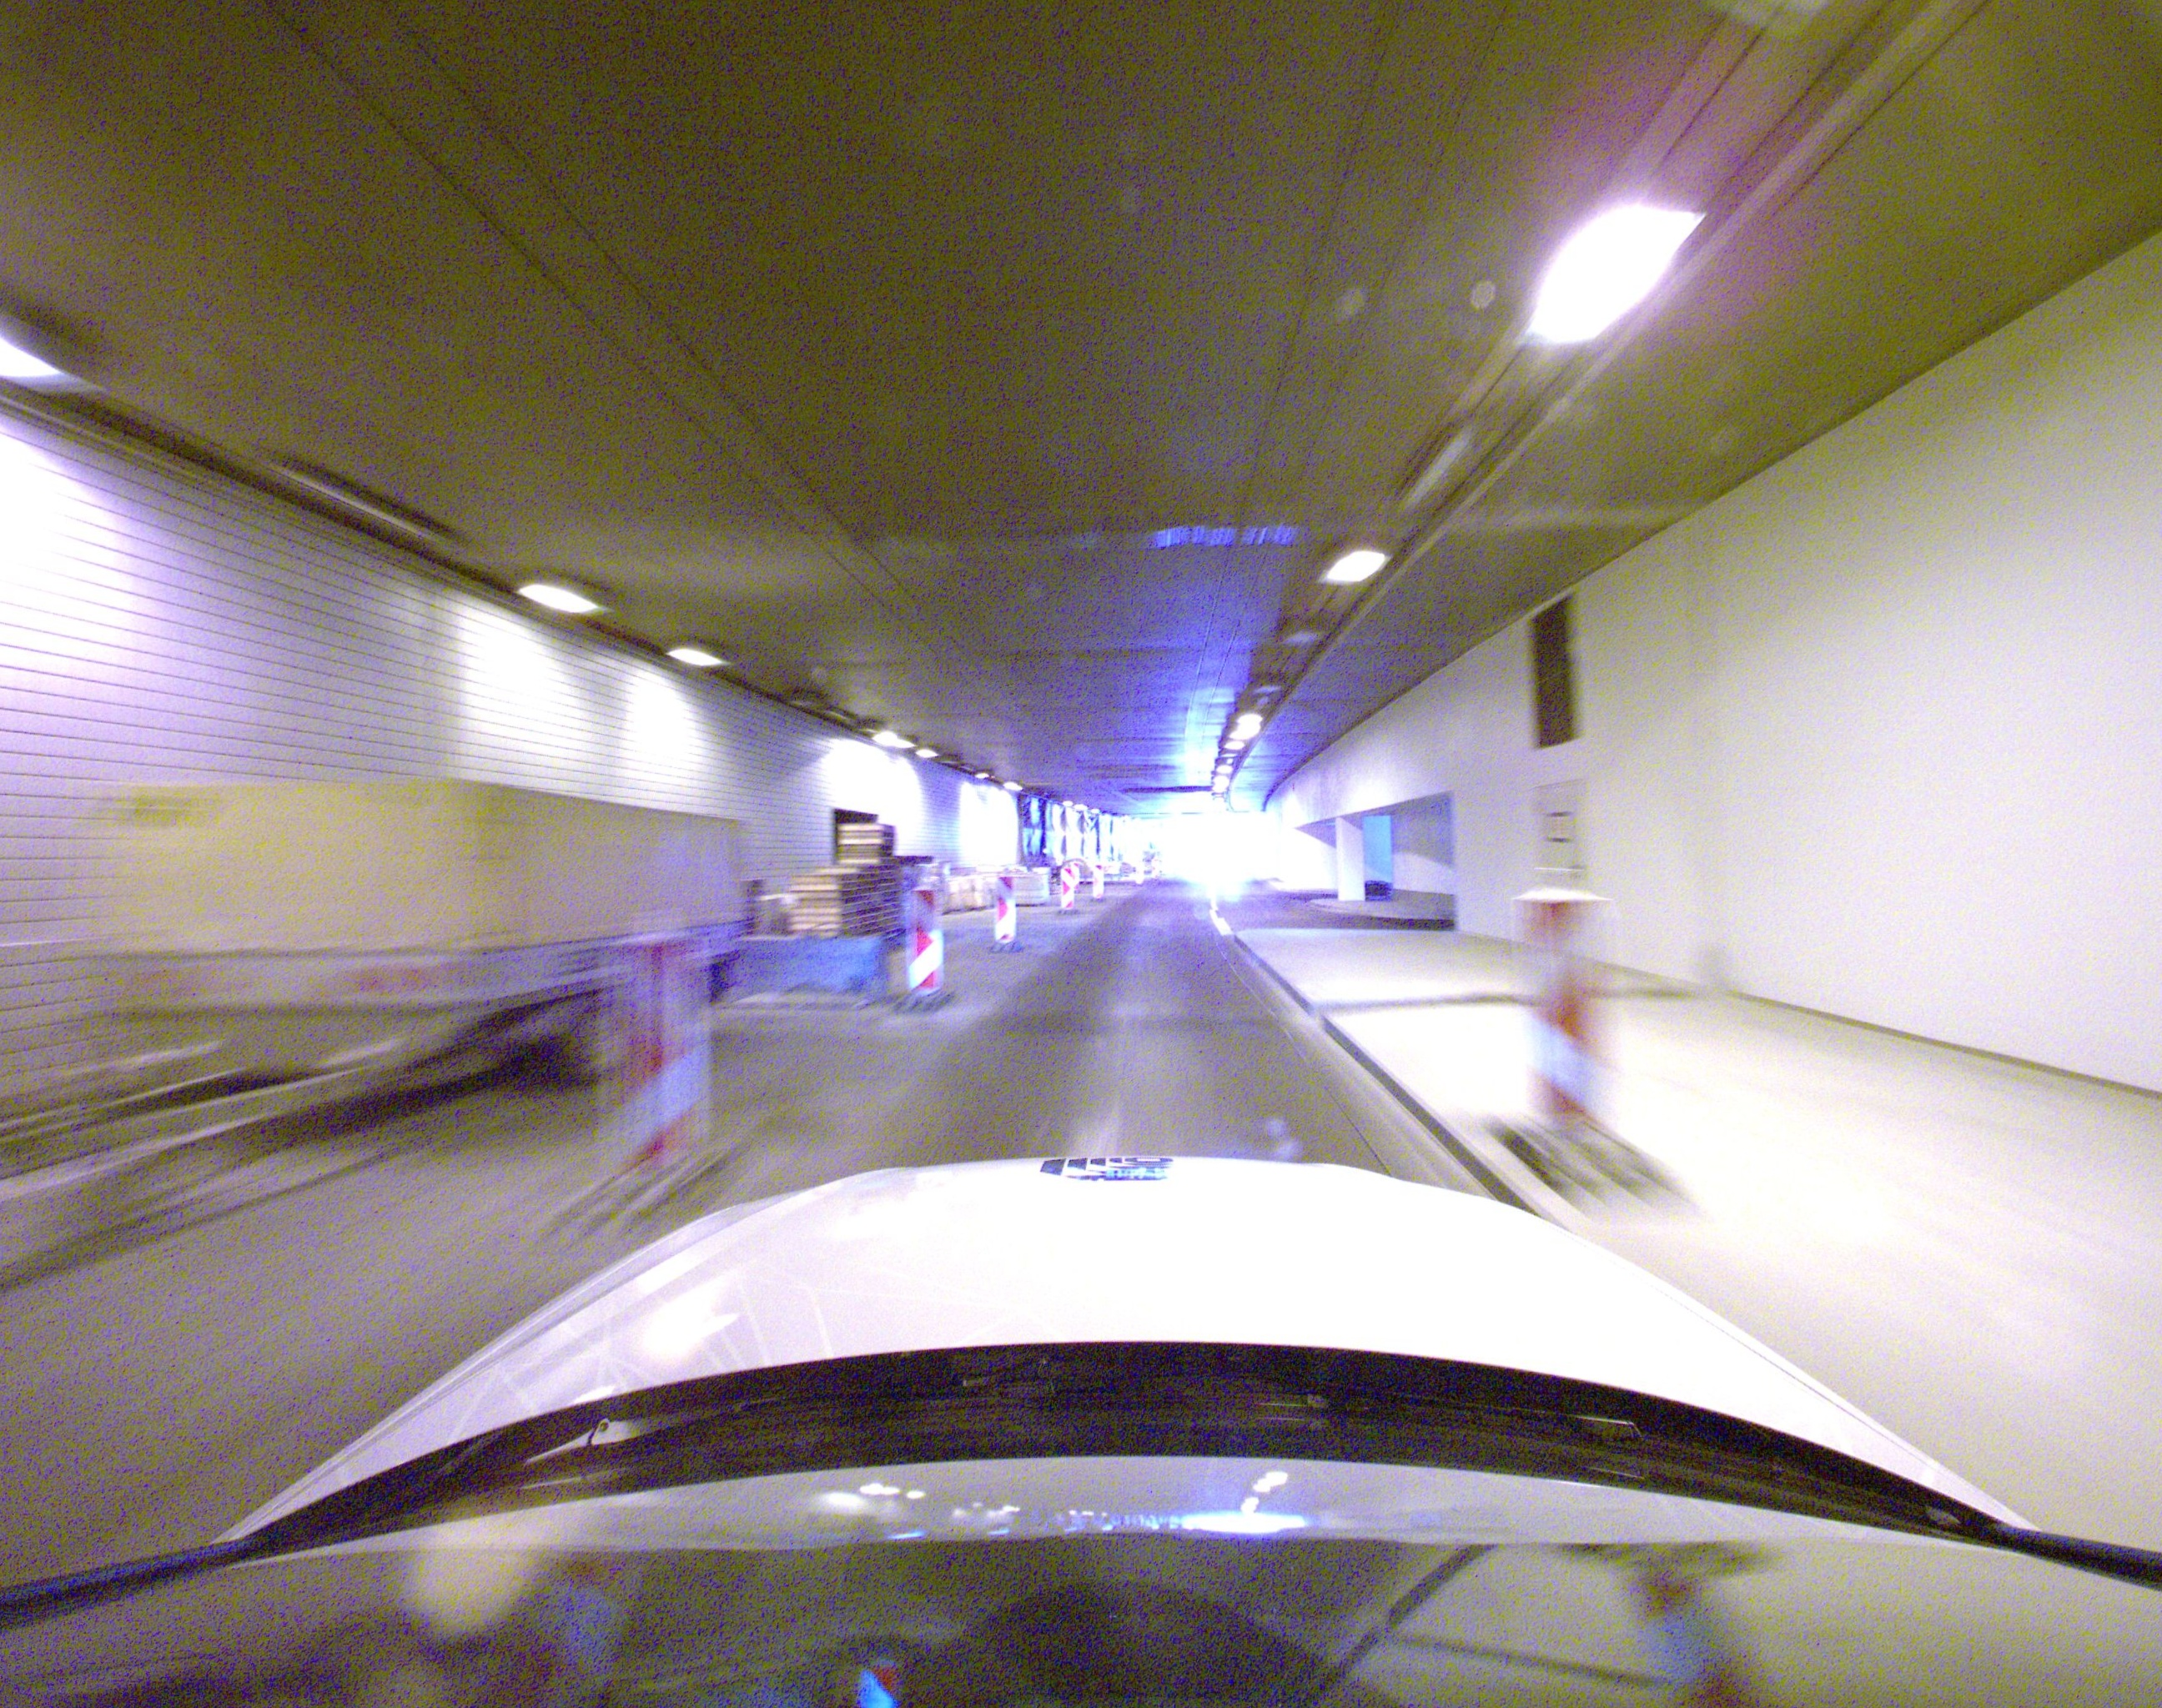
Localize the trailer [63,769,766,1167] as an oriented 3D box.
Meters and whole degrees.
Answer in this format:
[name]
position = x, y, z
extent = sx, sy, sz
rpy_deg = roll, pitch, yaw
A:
[trailer]
position = -4.101, 0.601, 5.927
extent = 2.200, 2.014, 3.466
rpy_deg = -1, -1, 1
